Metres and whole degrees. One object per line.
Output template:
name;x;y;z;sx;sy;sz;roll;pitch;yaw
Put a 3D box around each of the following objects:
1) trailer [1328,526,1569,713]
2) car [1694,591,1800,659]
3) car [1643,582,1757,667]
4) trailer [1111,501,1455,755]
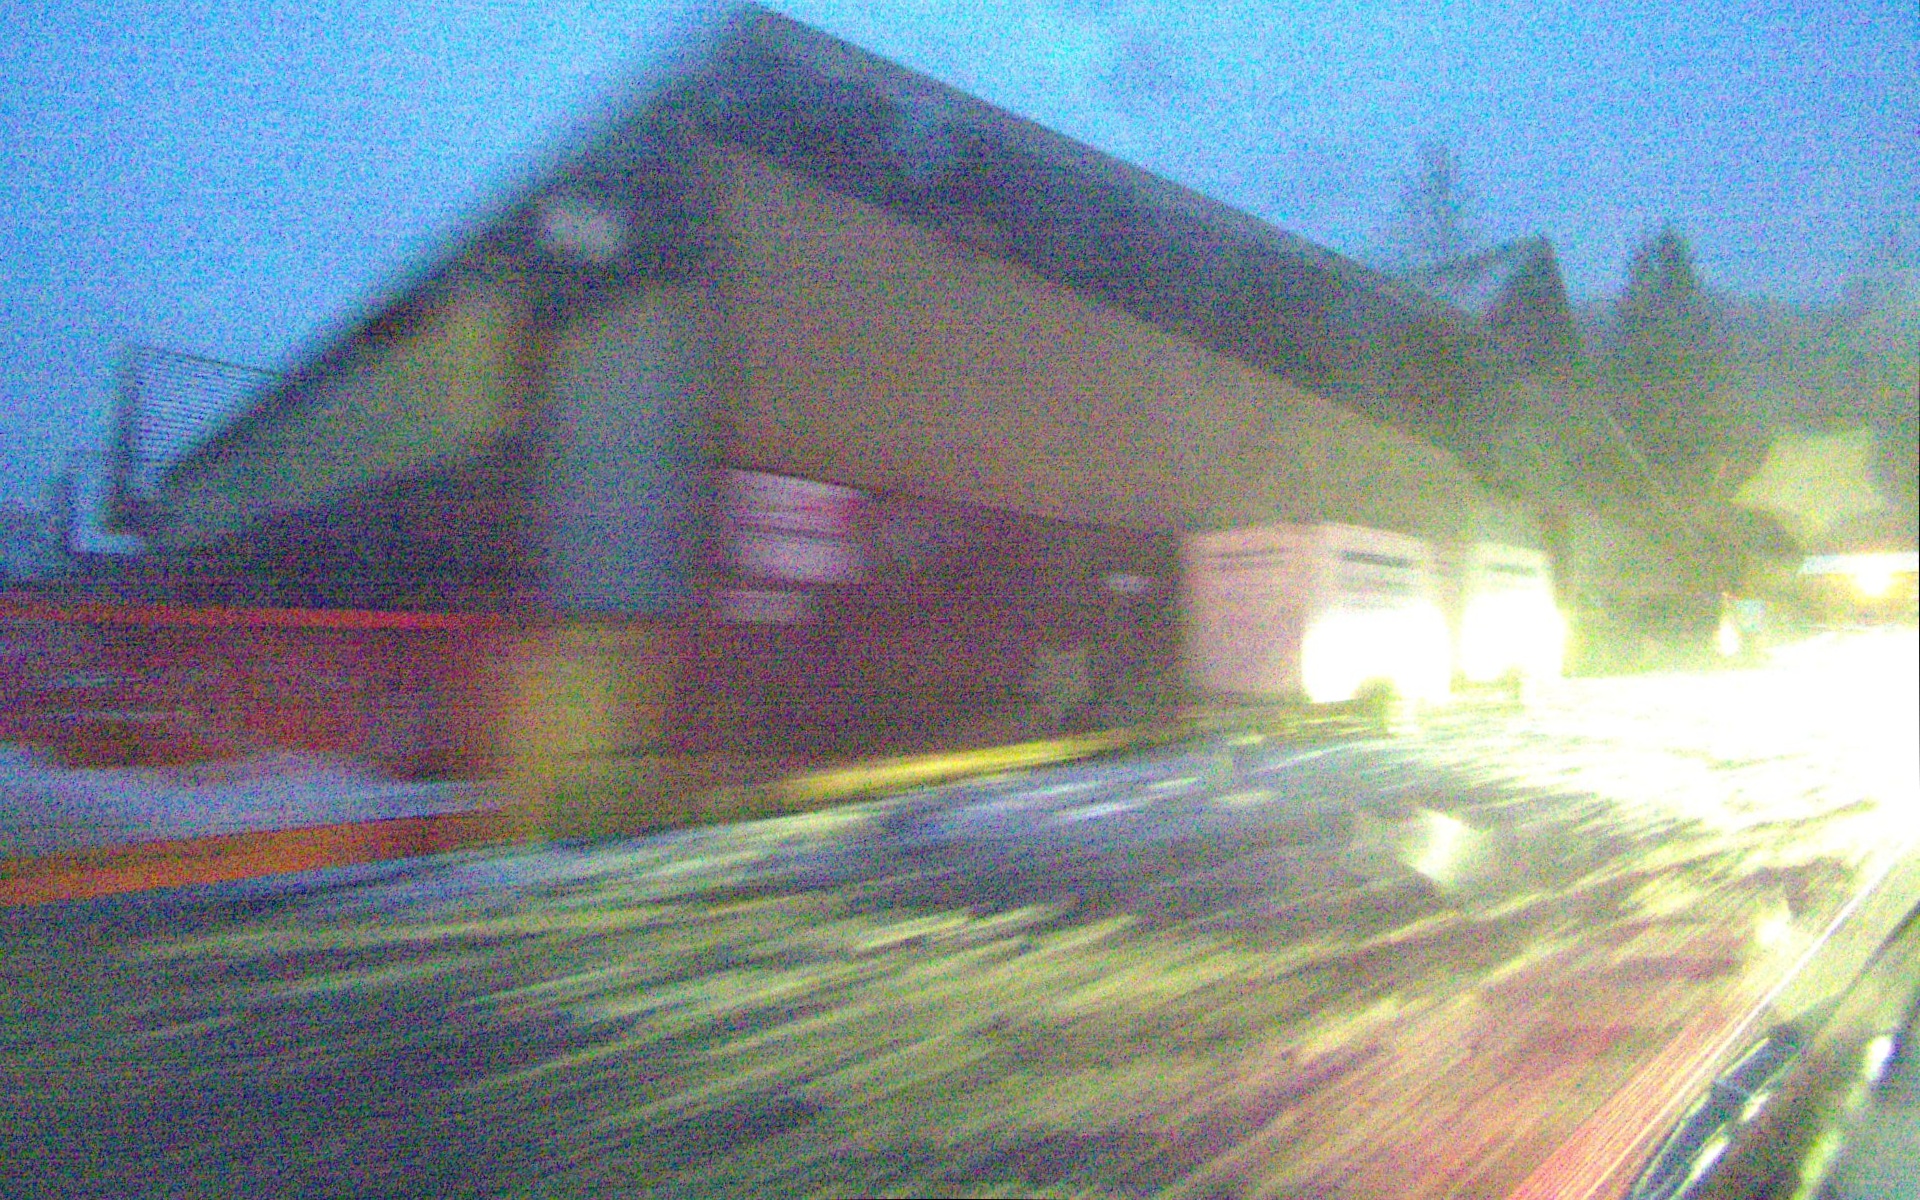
trailer;7.330;0.274;14.991;4.355;2.383;1.607;0;-3;-42
car;23.117;0.691;29.664;4.088;1.833;1.879;-1;-1;-44
car;19.650;0.602;26.793;1.877;2.066;4.322;-2;-1;43
trailer;3.883;0.286;11.688;4.574;2.395;1.631;0;-3;-42
